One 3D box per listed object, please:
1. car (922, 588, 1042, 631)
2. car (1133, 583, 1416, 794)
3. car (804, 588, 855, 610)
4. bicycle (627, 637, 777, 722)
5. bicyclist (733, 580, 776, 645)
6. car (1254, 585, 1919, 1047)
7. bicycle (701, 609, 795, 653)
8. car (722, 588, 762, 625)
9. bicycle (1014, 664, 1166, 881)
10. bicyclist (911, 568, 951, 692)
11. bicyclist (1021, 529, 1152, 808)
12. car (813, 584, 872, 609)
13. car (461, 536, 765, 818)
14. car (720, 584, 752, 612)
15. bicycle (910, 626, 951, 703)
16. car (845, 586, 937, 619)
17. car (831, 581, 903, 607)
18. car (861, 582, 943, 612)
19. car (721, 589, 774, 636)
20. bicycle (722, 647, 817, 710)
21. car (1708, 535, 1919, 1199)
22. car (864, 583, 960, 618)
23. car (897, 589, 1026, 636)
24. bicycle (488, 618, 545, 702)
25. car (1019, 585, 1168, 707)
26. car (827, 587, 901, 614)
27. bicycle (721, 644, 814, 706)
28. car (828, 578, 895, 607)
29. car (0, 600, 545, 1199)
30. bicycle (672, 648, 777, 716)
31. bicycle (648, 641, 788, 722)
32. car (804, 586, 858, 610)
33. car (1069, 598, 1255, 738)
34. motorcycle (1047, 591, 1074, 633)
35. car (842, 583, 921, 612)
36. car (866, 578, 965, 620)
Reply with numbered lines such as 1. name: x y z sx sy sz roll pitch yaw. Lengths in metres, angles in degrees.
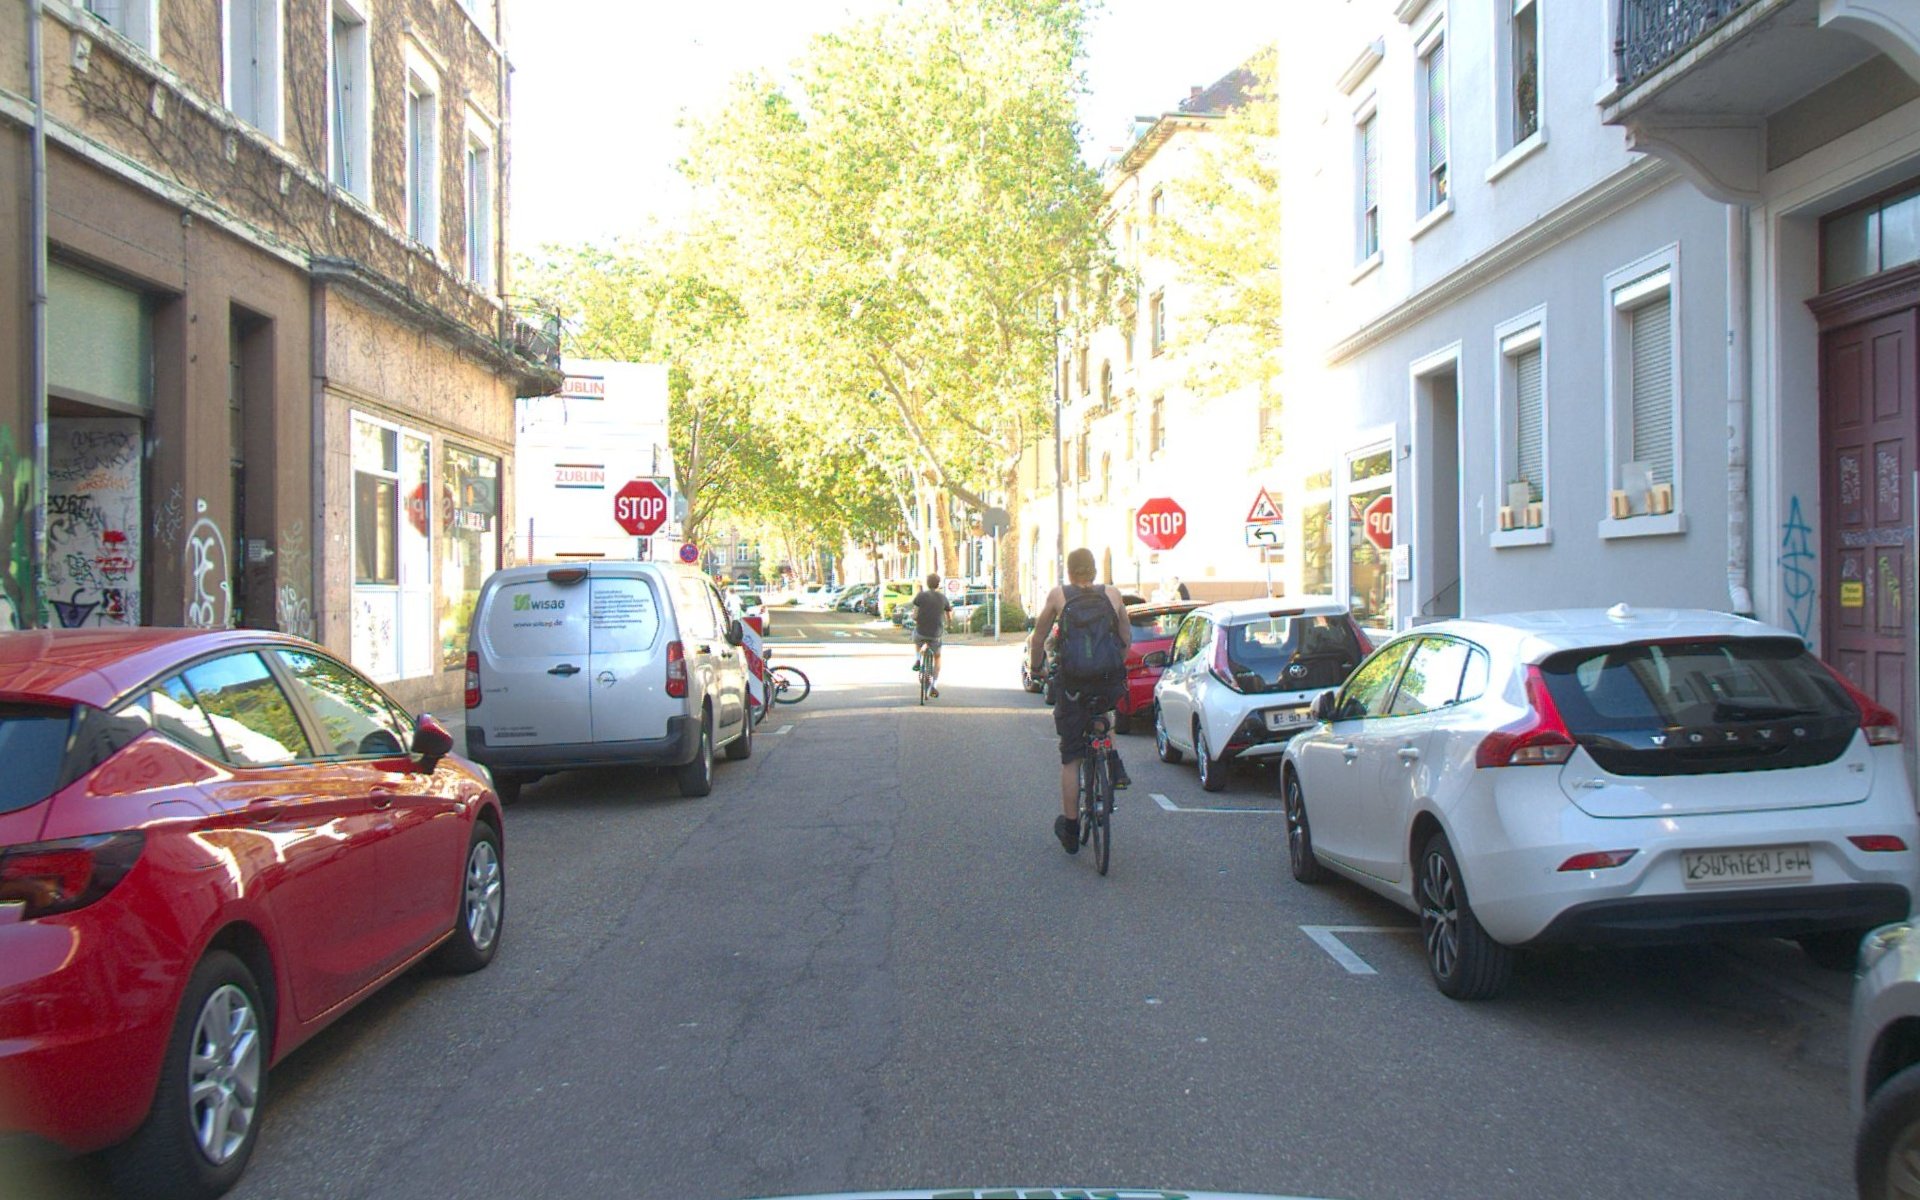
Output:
1. car: 0.834 0.362 63.570 4.379 1.598 1.724 0 0 -10
2. car: 2.648 0.681 14.757 1.604 1.614 3.786 1 0 -3
3. car: -11.500 -0.092 146.056 4.379 1.931 1.724 0 0 -10
4. bicycle: -3.077 0.948 19.802 1.729 0.978 0.405 0 0 -3
5. bicyclist: -5.359 0.332 43.097 1.076 1.668 0.894 0 -1 -8
6. car: 2.641 0.725 7.669 1.645 1.537 4.188 1 0 -2
7. bicycle: -5.517 0.798 43.060 2.377 1.112 0.894 0 -1 -8
8. car: -9.801 0.285 74.180 1.635 1.590 3.991 0 0 -10
9. bicycle: 0.707 0.931 9.542 0.675 1.034 1.907 1 0 -1
10. bicyclist: -0.414 0.420 23.263 0.531 1.717 0.653 1 -1 -2
11. bicyclist: 0.717 0.378 9.532 0.662 1.539 0.668 1 0 -1
12. car: -9.039 -0.281 126.849 4.379 1.931 1.724 0 0 -10
13. car: -2.776 0.548 14.236 1.645 1.943 4.518 -3 0 -1
14. car: -13.068 -0.115 96.355 1.635 1.590 4.605 0 0 -10
15. bicycle: -0.421 0.888 23.298 0.540 1.034 1.628 1 0 -2
16. car: -3.432 0.110 82.209 4.379 1.598 1.724 0 0 -10
17. car: -5.876 -0.387 104.215 4.379 1.598 1.724 0 0 -10
18. car: -3.221 -0.179 91.730 4.379 1.598 1.724 0 0 -10
19. car: -7.485 0.407 57.946 1.614 1.520 3.991 -3 1 -10
20. bicycle: -2.647 1.086 23.004 1.285 0.832 0.354 -1 0 -12
21. car: 2.773 0.699 2.249 1.644 1.625 4.190 1 0 1
22. car: -2.276 0.024 78.406 4.379 1.598 1.724 0 0 -10
23. car: 0.039 0.435 58.578 4.379 1.598 1.724 0 0 -10
24. bicycle: -6.097 0.808 22.779 0.389 1.111 1.591 -1 0 -1
25. car: 1.961 0.636 25.408 1.725 1.691 4.195 1 0 -3
26. car: -5.922 0.022 101.867 4.379 1.598 1.724 0 0 -10
27. bicycle: -2.719 1.049 23.375 1.285 0.832 0.370 -1 0 -12
28. car: -6.635 -0.495 111.490 4.379 1.931 1.724 0 0 -10
29. car: -2.670 0.792 5.482 1.646 1.499 4.201 -2 0 -3
30. bicycle: -3.205 1.109 22.515 1.362 0.832 0.361 -3 1 -12
31. bicycle: -3.107 1.031 21.238 1.735 0.978 0.480 -1 0 -14
32. car: -10.687 -0.180 137.187 4.379 1.931 1.724 0 0 -10
33. car: 2.394 0.762 20.511 1.612 1.529 3.952 1 0 -3
34. motorcycle: 3.334 0.401 54.881 0.504 1.356 1.759 0 1 -10
35. car: -4.490 -0.145 94.646 4.379 1.598 1.724 0 0 -10
36. car: -2.086 -0.059 76.399 4.380 1.868 1.724 0 0 -10
